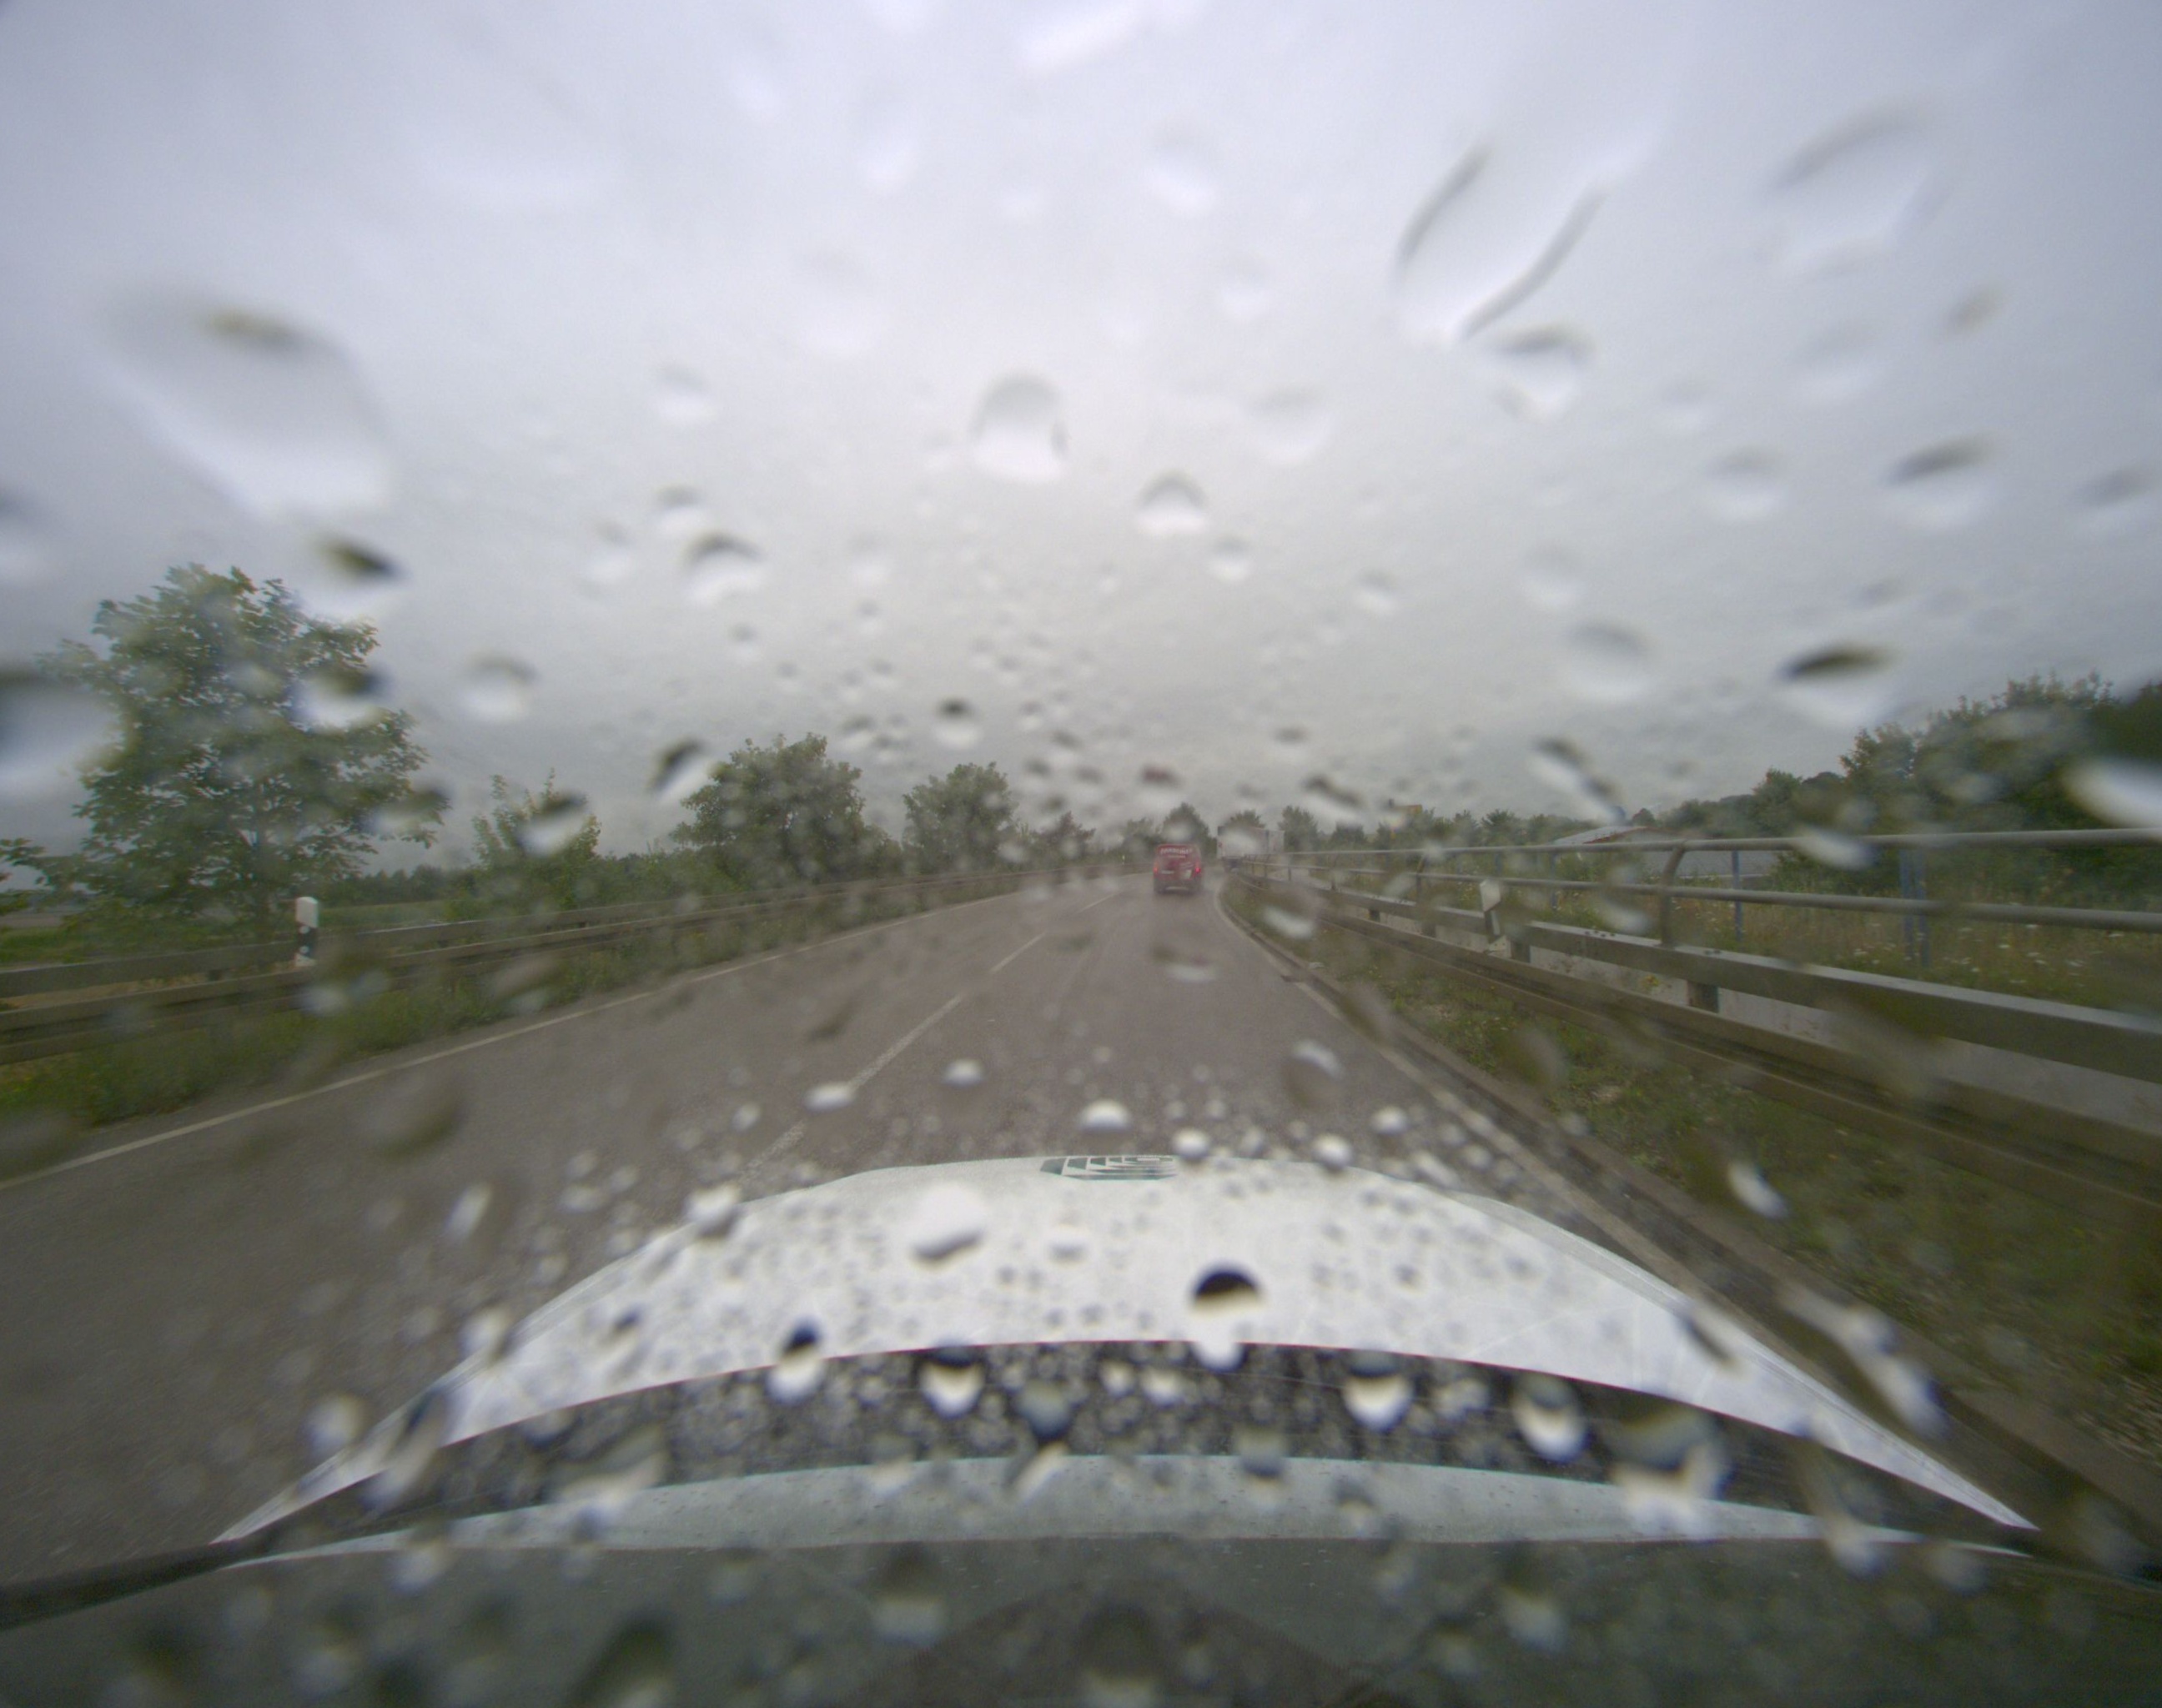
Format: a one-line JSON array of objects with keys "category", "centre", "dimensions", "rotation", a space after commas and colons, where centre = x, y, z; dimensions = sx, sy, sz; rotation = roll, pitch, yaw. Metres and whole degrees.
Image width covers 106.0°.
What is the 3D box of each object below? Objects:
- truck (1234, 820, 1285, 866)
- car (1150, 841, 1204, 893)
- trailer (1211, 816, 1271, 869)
[{"category": "truck", "centre": [16.276, -0.985, 73.679], "dimensions": [3.174, 3.921, 8.785], "rotation": [0, 0, 21]}, {"category": "car", "centre": [3.927, 0.449, 32.809], "dimensions": [1.982, 1.925, 4.154], "rotation": [-1, 1, 9]}, {"category": "trailer", "centre": [13.021, -0.909, 65.485], "dimensions": [3.174, 3.921, 8.785], "rotation": [0, 0, 21]}]
